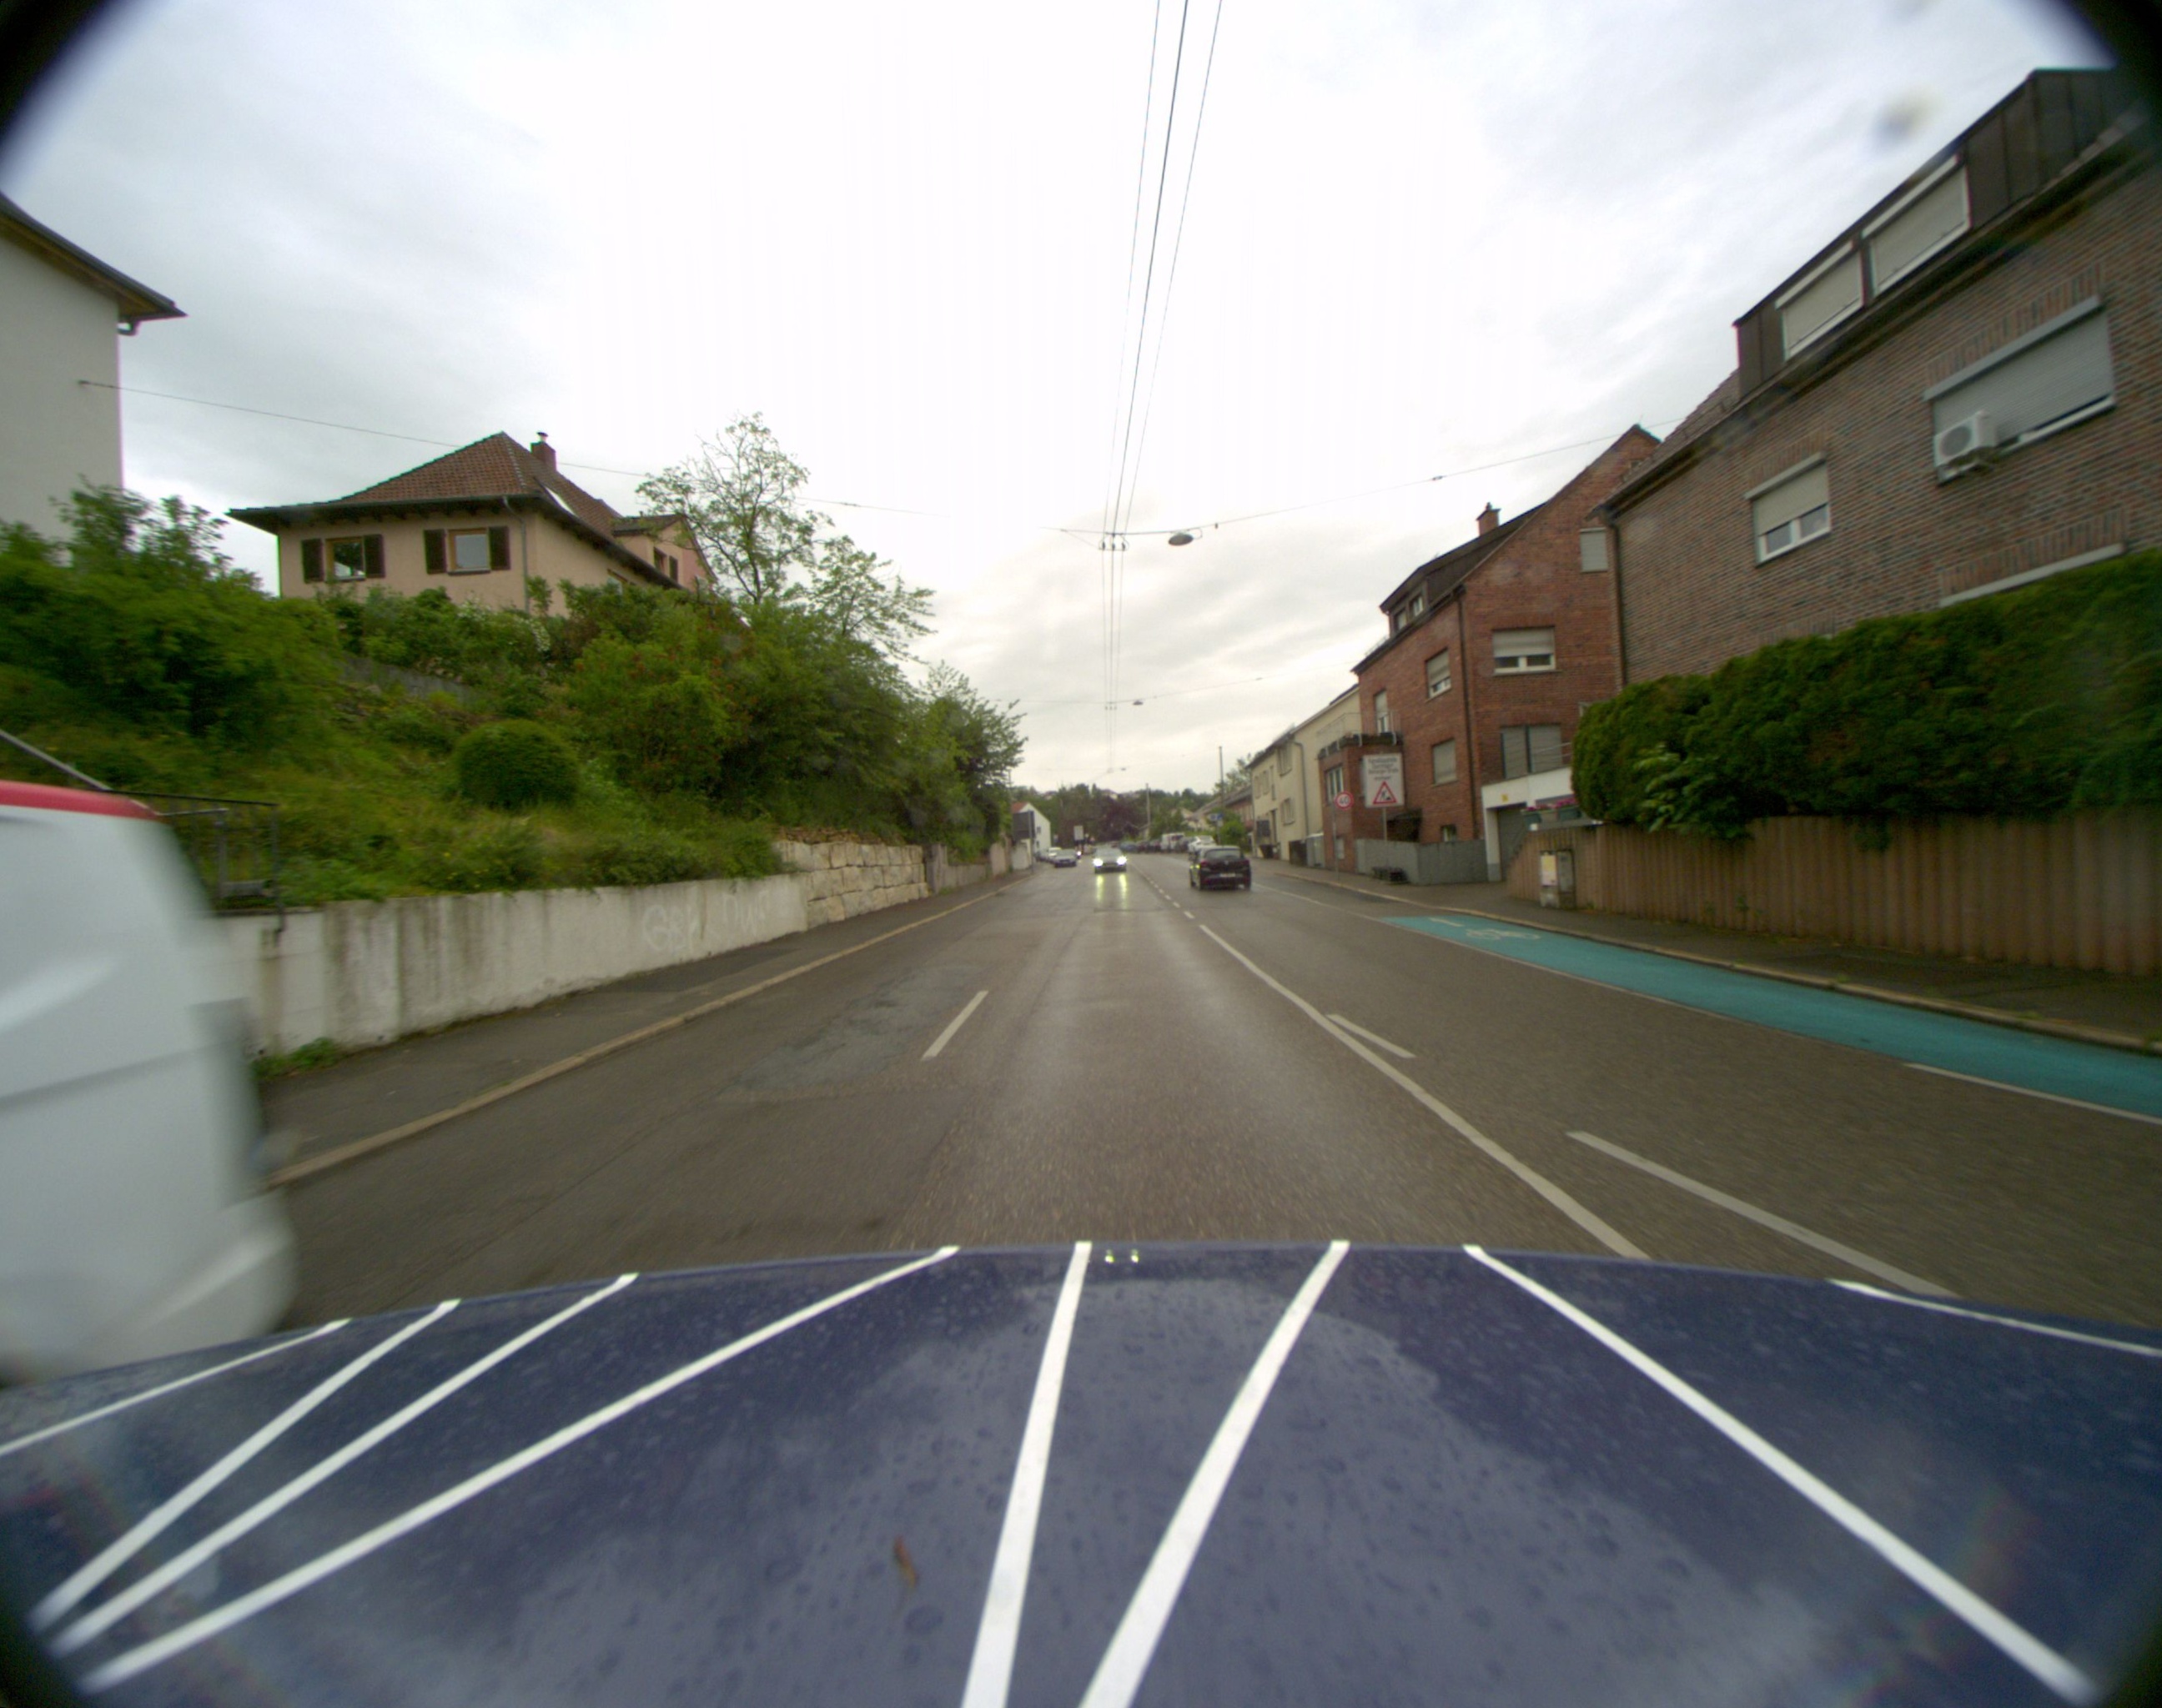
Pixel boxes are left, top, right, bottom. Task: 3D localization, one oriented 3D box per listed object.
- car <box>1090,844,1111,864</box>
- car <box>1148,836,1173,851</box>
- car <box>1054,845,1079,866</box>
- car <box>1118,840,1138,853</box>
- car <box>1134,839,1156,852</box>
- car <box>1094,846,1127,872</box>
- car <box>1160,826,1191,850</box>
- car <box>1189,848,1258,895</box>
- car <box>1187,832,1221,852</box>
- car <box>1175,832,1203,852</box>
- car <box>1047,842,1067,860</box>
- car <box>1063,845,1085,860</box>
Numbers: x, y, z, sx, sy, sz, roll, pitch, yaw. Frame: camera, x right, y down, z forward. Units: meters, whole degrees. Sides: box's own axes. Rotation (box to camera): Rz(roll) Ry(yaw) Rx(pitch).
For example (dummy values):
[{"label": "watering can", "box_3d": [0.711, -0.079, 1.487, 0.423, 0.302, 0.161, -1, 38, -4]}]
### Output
[{"label": "car", "box_3d": [1.701, -0.033, 67.265, 1.789, 1.579, 3.783, -3, 1, 1]}, {"label": "car", "box_3d": [8.946, -1.143, 85.451, 1.654, 1.482, 4.008, -5, 1, -10]}, {"label": "car", "box_3d": [-1.209, 0.164, 66.243, 2.003, 1.596, 4.359, -3, -1, 0]}, {"label": "car", "box_3d": [5.972, -0.947, 96.417, 1.624, 1.482, 3.900, -5, 1, -8]}, {"label": "car", "box_3d": [7.668, -1.016, 91.156, 1.654, 1.388, 3.858, -5, 1, -8]}, {"label": "car", "box_3d": [1.797, 0.271, 47.006, 1.870, 1.407, 3.999, -3, 1, 1]}, {"label": "car", "box_3d": [9.962, -1.623, 80.151, 2.258, 2.273, 4.545, -5, 1, -3]}, {"label": "car", "box_3d": [4.882, 0.553, 26.584, 1.920, 1.437, 3.718, -3, 1, 4]}, {"label": "car", "box_3d": [10.645, -1.001, 65.982, 1.946, 1.557, 4.262, -5, 1, -2]}, {"label": "car", "box_3d": [10.484, -1.139, 74.141, 1.815, 1.793, 4.262, -5, 1, -2]}, {"label": "car", "box_3d": [-2.621, -0.329, 82.323, 1.821, 1.855, 4.037, -3, 1, -4]}, {"label": "car", "box_3d": [-0.873, -0.219, 90.223, 2.000, 1.678, 3.996, -3, 1, -8]}]
